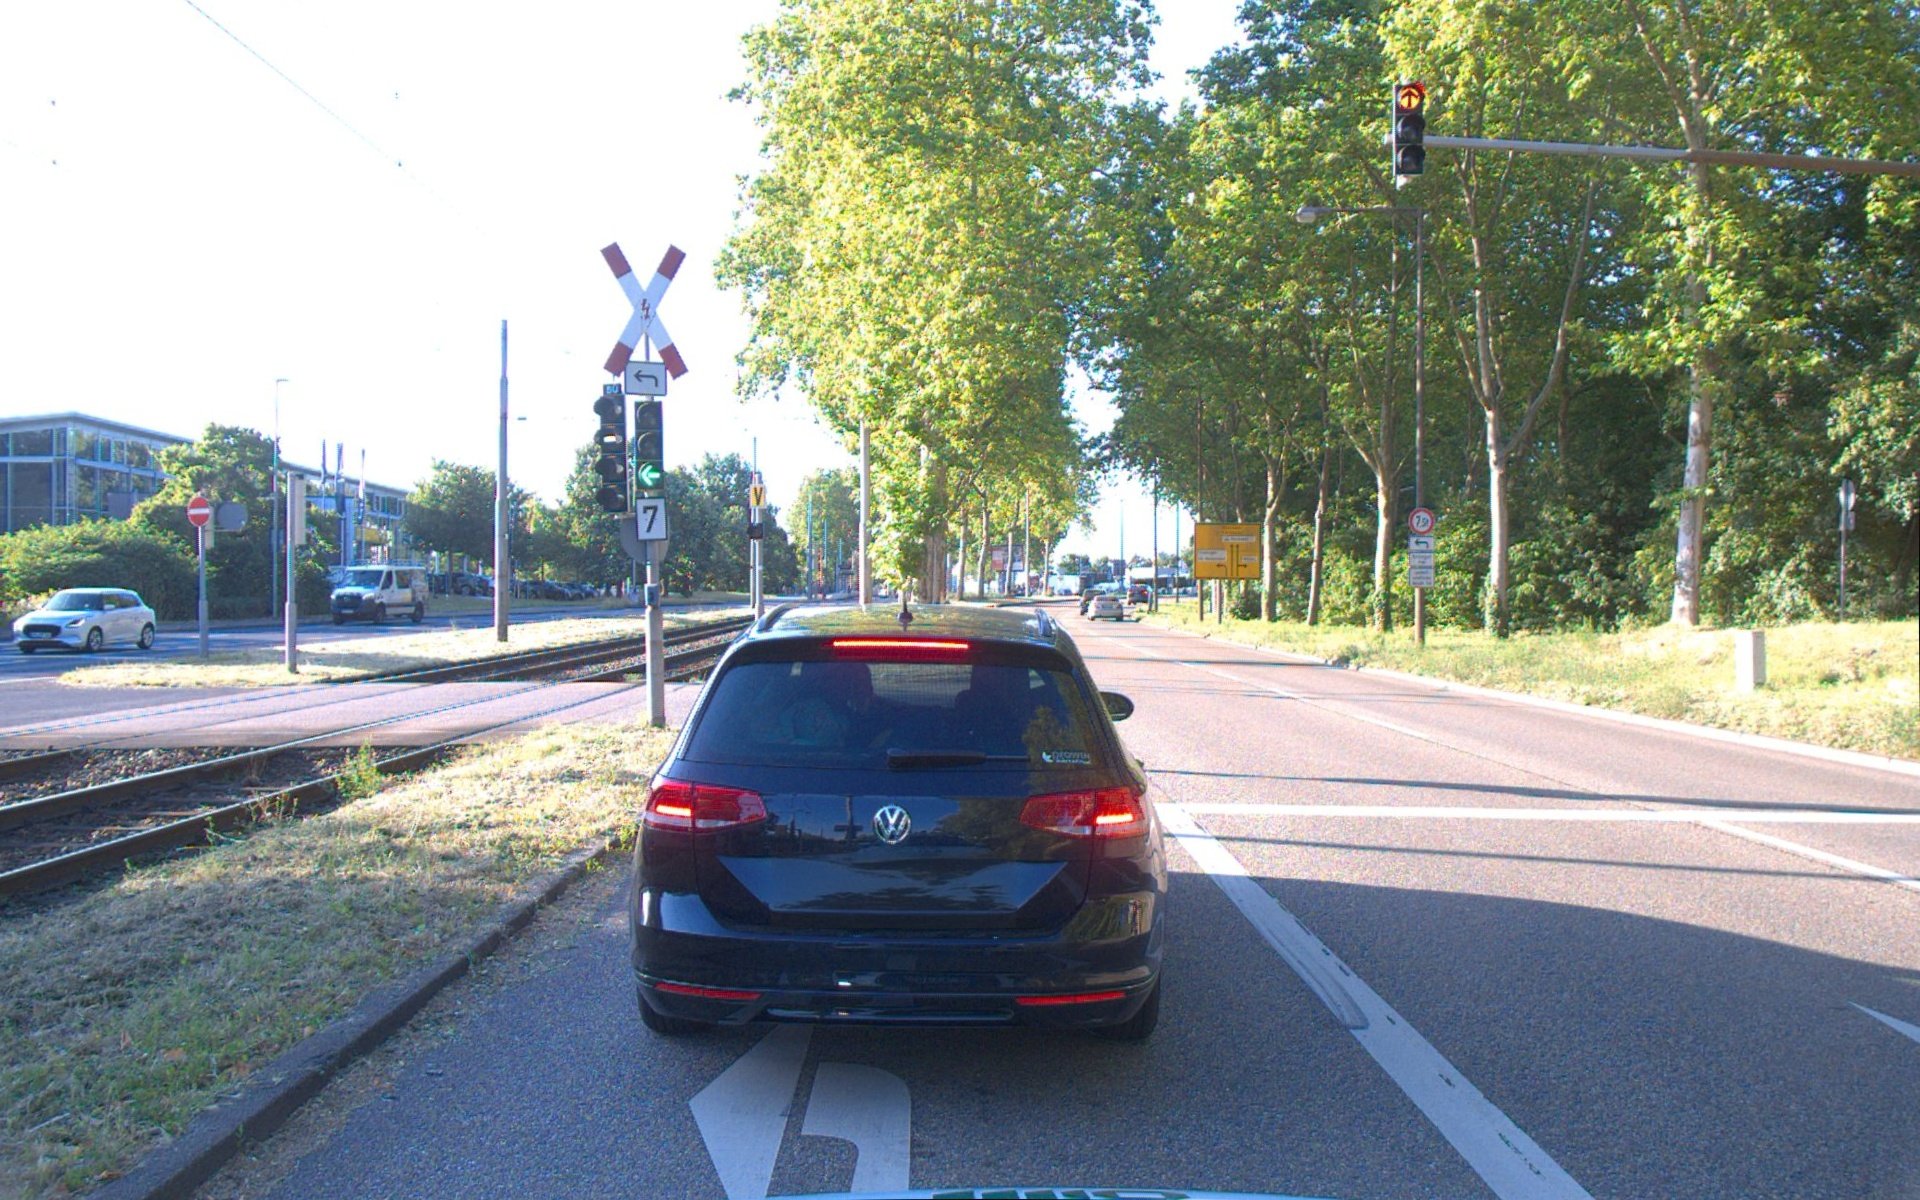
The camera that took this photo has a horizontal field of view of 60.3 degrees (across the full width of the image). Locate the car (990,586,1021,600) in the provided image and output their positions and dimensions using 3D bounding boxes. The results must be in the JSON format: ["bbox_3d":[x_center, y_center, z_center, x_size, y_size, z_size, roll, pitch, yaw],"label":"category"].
[{"bbox_3d":[4.640,-0.698,166.868,1.952,1.445,4.001,1,0,20],"label":"car"}]

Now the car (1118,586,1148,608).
[{"bbox_3d":[13.928,-0.221,133.247,1.832,1.663,4.373,4,0,12],"label":"car"}]

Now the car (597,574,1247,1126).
[{"bbox_3d":[-0.134,0.684,6.329,1.758,1.490,3.582,1,0,-1],"label":"car"}]

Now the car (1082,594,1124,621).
[{"bbox_3d":[7.382,0.373,85.588,1.577,1.317,3.979,1,0,-4],"label":"car"}]

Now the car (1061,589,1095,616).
[{"bbox_3d":[6.986,0.124,98.538,1.672,1.588,4.165,0,0,-1],"label":"car"}]
